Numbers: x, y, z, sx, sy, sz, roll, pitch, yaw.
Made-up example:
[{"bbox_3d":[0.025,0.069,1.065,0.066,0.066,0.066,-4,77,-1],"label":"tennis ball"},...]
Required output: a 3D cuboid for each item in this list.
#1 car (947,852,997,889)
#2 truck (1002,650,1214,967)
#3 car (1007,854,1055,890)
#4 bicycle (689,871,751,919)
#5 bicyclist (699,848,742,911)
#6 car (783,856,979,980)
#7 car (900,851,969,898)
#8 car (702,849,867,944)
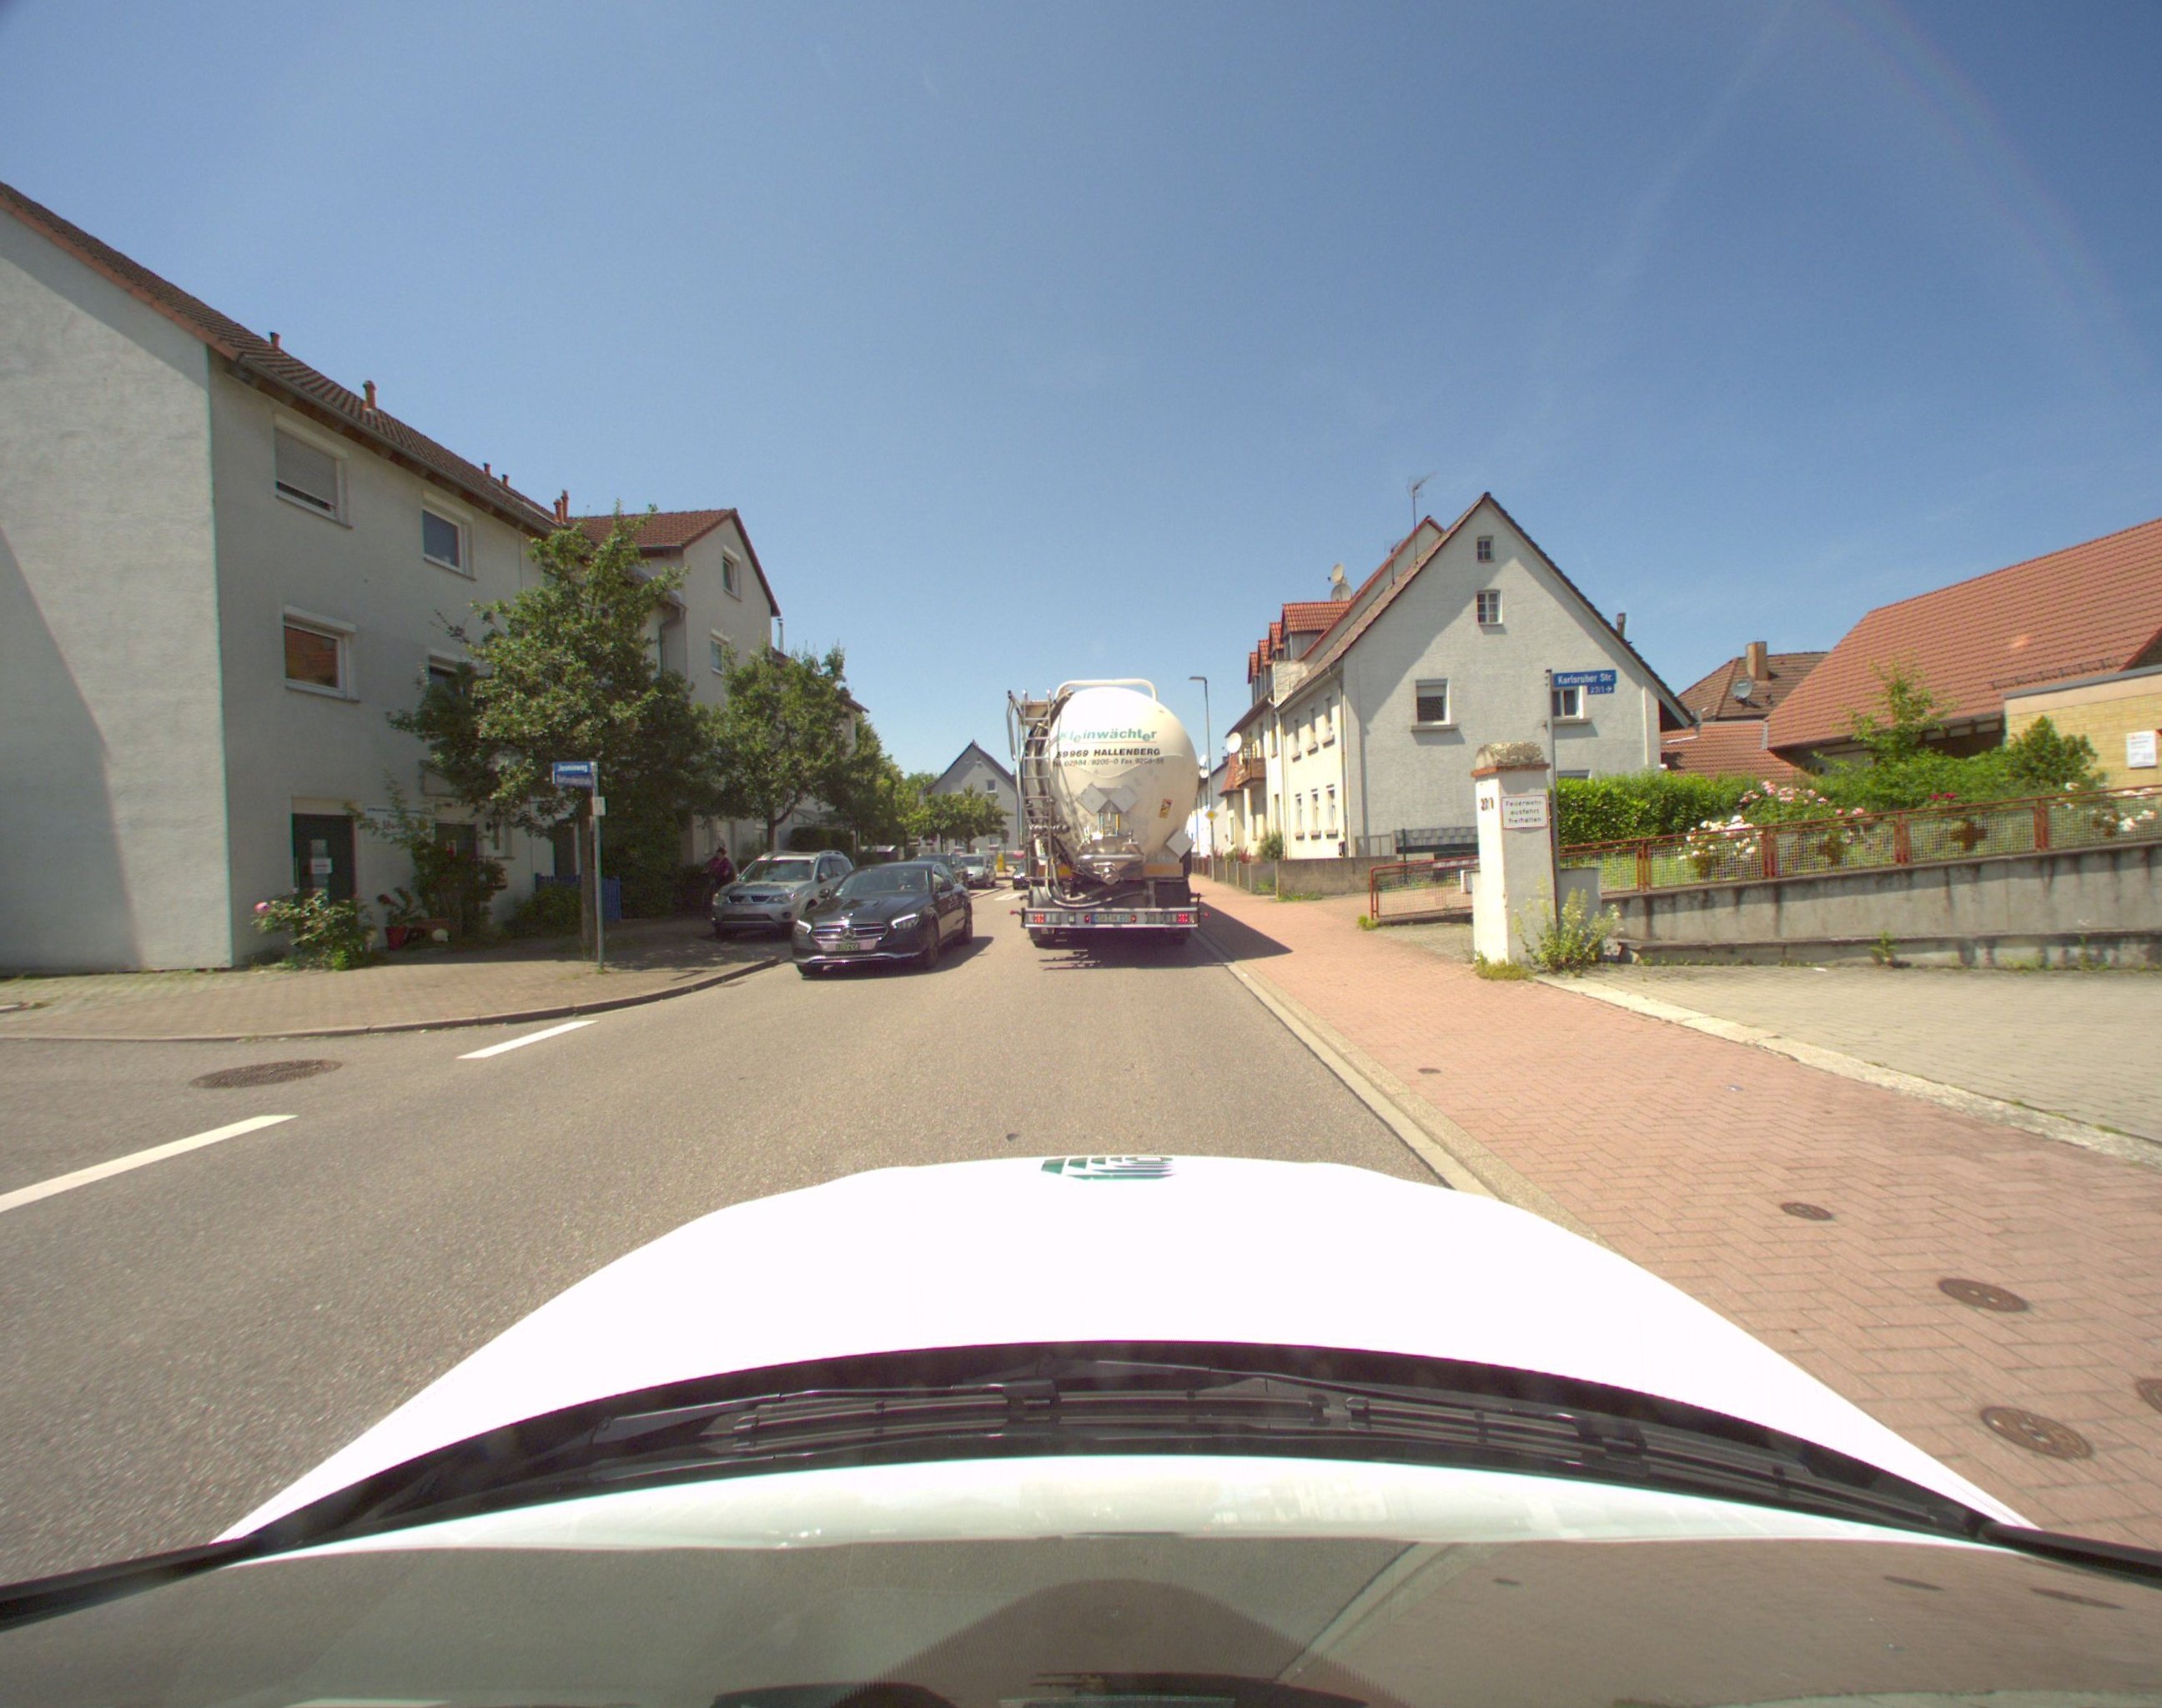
[{"bbox_3d":[-4.951,0.722,37.509,1.691,1.580,3.839,-1,0,1],"label":"car"},{"bbox_3d":[0.413,-0.618,15.281,2.632,4.015,9.562,-2,0,1],"label":"truck"},{"bbox_3d":[-2.213,0.779,37.080,1.700,1.370,3.870,-4,0,2],"label":"car"},{"bbox_3d":[-8.832,0.971,19.998,0.669,1.056,2.025,1,0,-2],"label":"bicycle"},{"bbox_3d":[-8.824,0.611,19.972,0.657,1.494,0.909,1,0,-2],"label":"bicyclist"},{"bbox_3d":[-2.824,0.809,12.635,1.724,1.460,4.695,-3,0,1],"label":"car"},{"bbox_3d":[-5.453,0.703,30.704,1.685,1.620,4.000,-1,0,2],"label":"car"},{"bbox_3d":[-5.962,0.750,17.010,1.700,1.686,4.527,-1,0,1],"label":"car"}]
